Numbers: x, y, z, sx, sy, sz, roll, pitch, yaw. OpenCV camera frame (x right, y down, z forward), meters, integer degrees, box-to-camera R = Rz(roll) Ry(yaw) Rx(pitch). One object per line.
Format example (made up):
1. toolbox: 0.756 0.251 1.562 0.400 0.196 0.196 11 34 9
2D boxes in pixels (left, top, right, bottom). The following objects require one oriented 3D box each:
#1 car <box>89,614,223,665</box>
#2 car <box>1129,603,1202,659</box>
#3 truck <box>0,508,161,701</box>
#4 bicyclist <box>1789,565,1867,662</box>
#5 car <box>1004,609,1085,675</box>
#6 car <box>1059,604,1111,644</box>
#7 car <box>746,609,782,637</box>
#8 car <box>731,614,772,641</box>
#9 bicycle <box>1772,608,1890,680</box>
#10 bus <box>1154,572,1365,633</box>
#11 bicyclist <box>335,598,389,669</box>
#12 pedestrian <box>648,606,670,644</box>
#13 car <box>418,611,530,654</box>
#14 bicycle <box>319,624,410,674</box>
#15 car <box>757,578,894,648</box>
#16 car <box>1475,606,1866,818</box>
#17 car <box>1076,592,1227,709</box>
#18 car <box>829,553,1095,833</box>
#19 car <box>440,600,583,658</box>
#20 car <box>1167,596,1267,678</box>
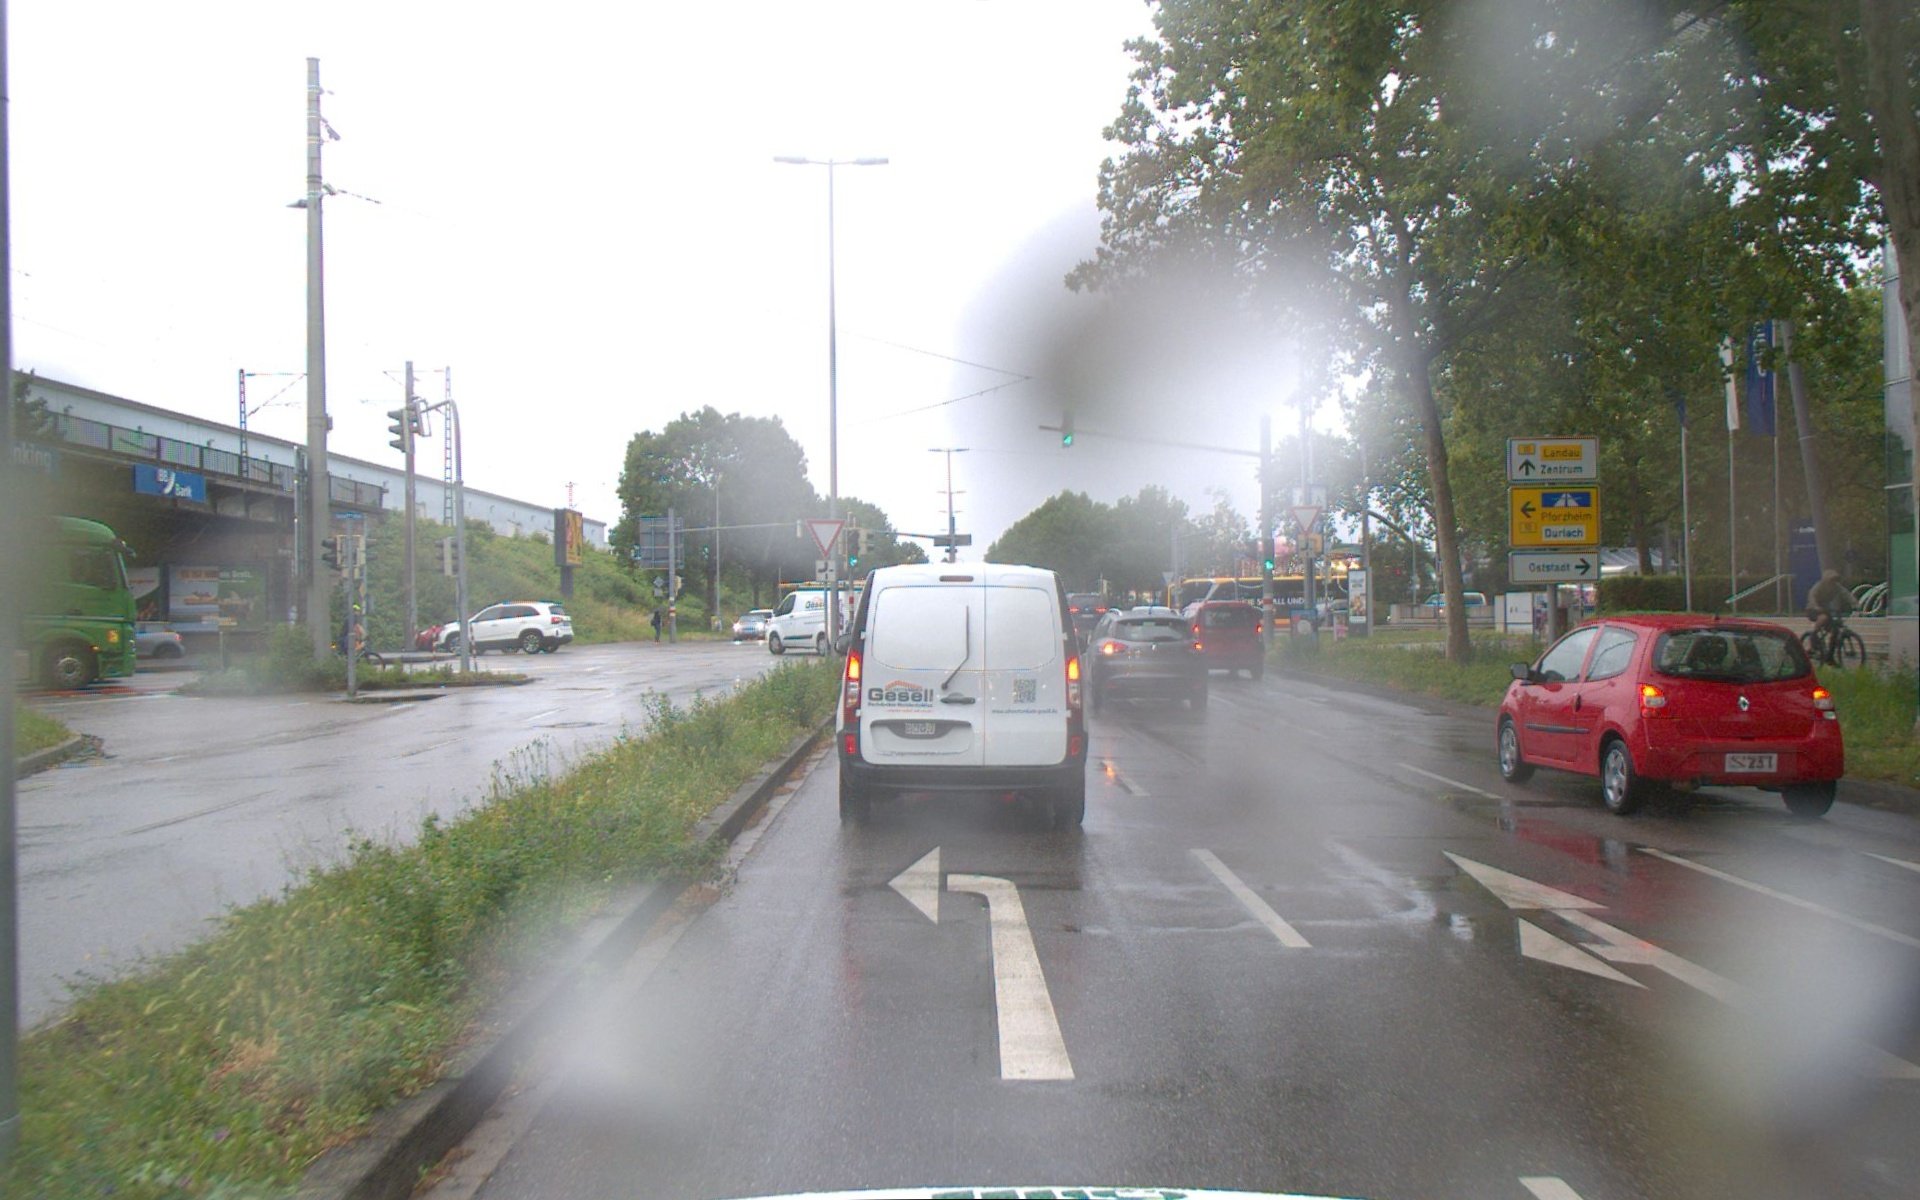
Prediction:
1. car: -26.269 1.277 54.074 3.845 1.543 1.790 -1 0 -30
2. car: 6.347 0.942 51.423 1.805 1.646 4.000 1 0 1
3. truck: -22.302 0.140 34.230 10.083 4.018 2.653 -1 0 -37
4. bicyclist: 14.440 0.228 27.540 0.789 1.541 0.751 -3 -1 -4
5. car: 2.276 1.106 45.353 1.799 1.685 3.997 1 0 -3
6. car: 5.197 0.969 69.033 1.952 1.601 4.001 -1 0 2
7. car: -11.248 1.316 95.312 1.791 1.508 3.997 -1 0 -3
8. car: -11.167 1.464 88.924 1.854 1.373 3.998 -1 0 -3
9. bicycle: 14.452 0.710 27.513 0.728 1.123 2.076 -3 0 -3
10. bus: 17.805 0.154 98.924 12.001 3.325 3.274 -1 0 -1
11. bicyclist: -13.711 0.768 37.917 1.032 1.621 0.797 1 -1 -29
12. pedestrian: -14.290 1.188 78.600 0.983 1.749 0.818 -1 -1 -9
13. car: -18.248 1.209 62.280 3.919 1.529 1.766 -1 0 -14
14. bicycle: -13.661 1.121 37.936 1.884 1.114 0.688 1 -1 -28
15. car: -4.214 0.396 51.112 1.979 1.990 4.757 -2 1 -37
16. car: 5.650 0.808 13.644 1.644 1.517 3.620 0 0 -1
17. car: 2.867 0.736 25.517 1.805 1.646 3.999 1 0 -1
18. car: -0.008 0.613 12.754 1.720 1.809 3.999 0 0 -1
19. car: -15.579 1.000 57.572 4.332 1.878 2.002 -1 0 8
20. car: 5.582 0.787 36.236 1.599 1.685 3.484 1 0 -1
